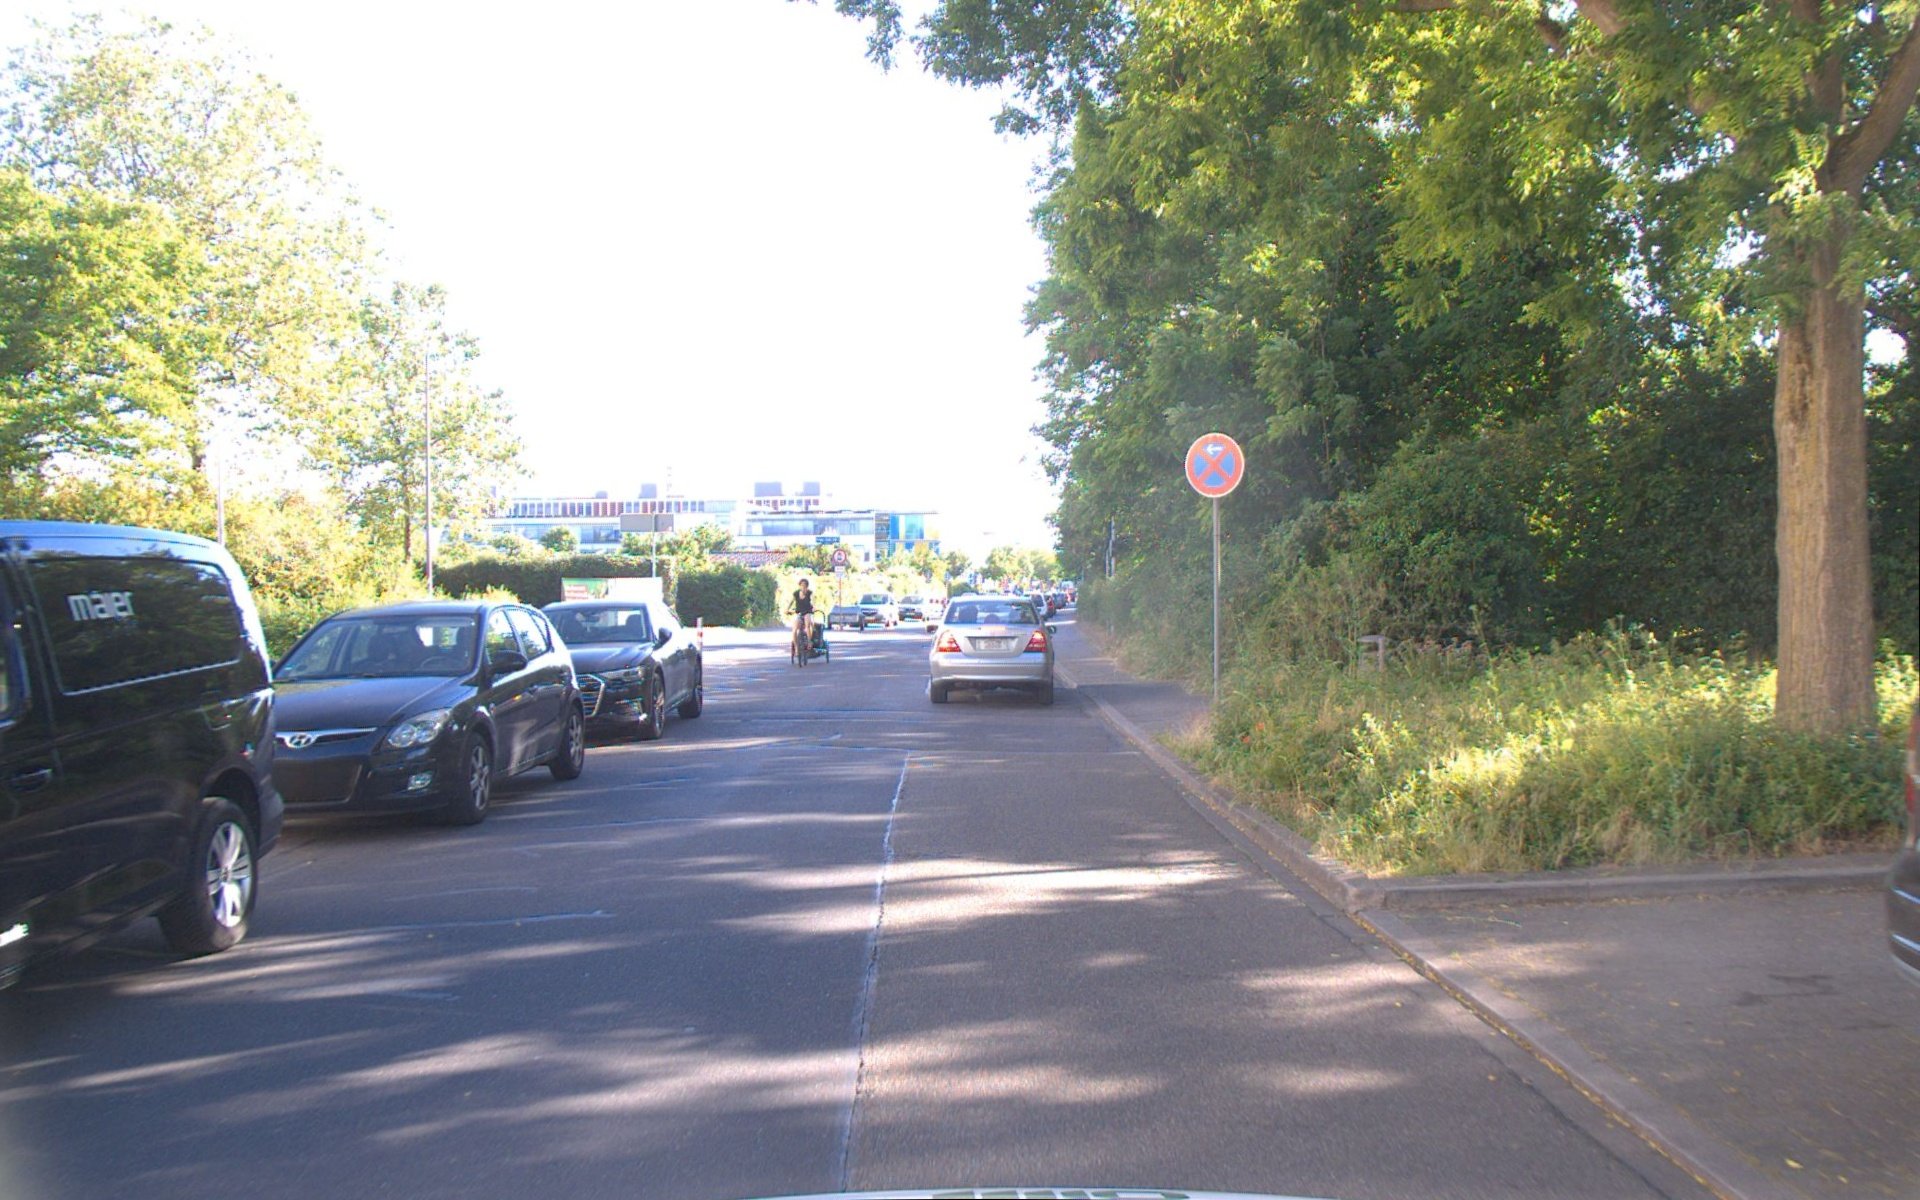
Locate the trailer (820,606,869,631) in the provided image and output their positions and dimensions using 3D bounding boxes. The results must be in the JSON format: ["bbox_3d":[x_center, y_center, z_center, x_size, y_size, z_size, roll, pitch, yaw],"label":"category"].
[{"bbox_3d":[-4.668,0.749,67.231,1.511,0.970,2.649,1,0,6],"label":"trailer"}]

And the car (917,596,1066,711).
[{"bbox_3d":[0.360,0.682,23.276,1.703,1.478,3.996,0,0,-5],"label":"car"}]

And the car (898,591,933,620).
[{"bbox_3d":[-2.535,0.327,95.097,1.609,1.583,4.420,-1,0,4],"label":"car"}]

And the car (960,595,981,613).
[{"bbox_3d":[0.915,0.324,141.866,1.527,1.521,3.572,-1,0,4],"label":"car"}]

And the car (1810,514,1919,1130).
[{"bbox_3d":[4.692,0.563,4.258,4.063,1.725,1.775,-2,0,1],"label":"car"}]

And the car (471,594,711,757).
[{"bbox_3d":[-3.985,0.731,18.627,1.692,1.489,4.681,-2,1,-1],"label":"car"}]

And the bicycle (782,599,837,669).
[{"bbox_3d":[-3.152,0.692,34.935,0.833,1.394,3.220,-1,0,0],"label":"bicycle"}]

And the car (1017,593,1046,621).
[{"bbox_3d":[4.108,0.383,94.762,1.523,1.565,3.557,1,0,4],"label":"car"}]

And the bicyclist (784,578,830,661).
[{"bbox_3d":[-3.159,0.397,34.239,0.827,1.687,1.064,-1,0,0],"label":"bicyclist"}]

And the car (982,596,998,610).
[{"bbox_3d":[3.222,0.312,177.034,1.527,1.521,3.760,-1,0,4],"label":"car"}]

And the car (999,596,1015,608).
[{"bbox_3d":[5.831,0.239,206.455,1.815,1.453,4.136,1,0,4],"label":"car"}]

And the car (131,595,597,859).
[{"bbox_3d":[-4.024,0.761,11.958,1.802,1.479,4.019,-2,1,1],"label":"car"}]

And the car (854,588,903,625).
[{"bbox_3d":[-3.778,0.289,77.331,1.608,1.628,4.314,0,0,6],"label":"car"}]

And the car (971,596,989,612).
[{"bbox_3d":[1.928,0.383,160.029,1.527,1.521,3.572,2,0,4],"label":"car"}]

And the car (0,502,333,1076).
[{"bbox_3d":[-3.954,0.627,5.623,1.803,1.811,4.887,-2,0,-1],"label":"car"}]
